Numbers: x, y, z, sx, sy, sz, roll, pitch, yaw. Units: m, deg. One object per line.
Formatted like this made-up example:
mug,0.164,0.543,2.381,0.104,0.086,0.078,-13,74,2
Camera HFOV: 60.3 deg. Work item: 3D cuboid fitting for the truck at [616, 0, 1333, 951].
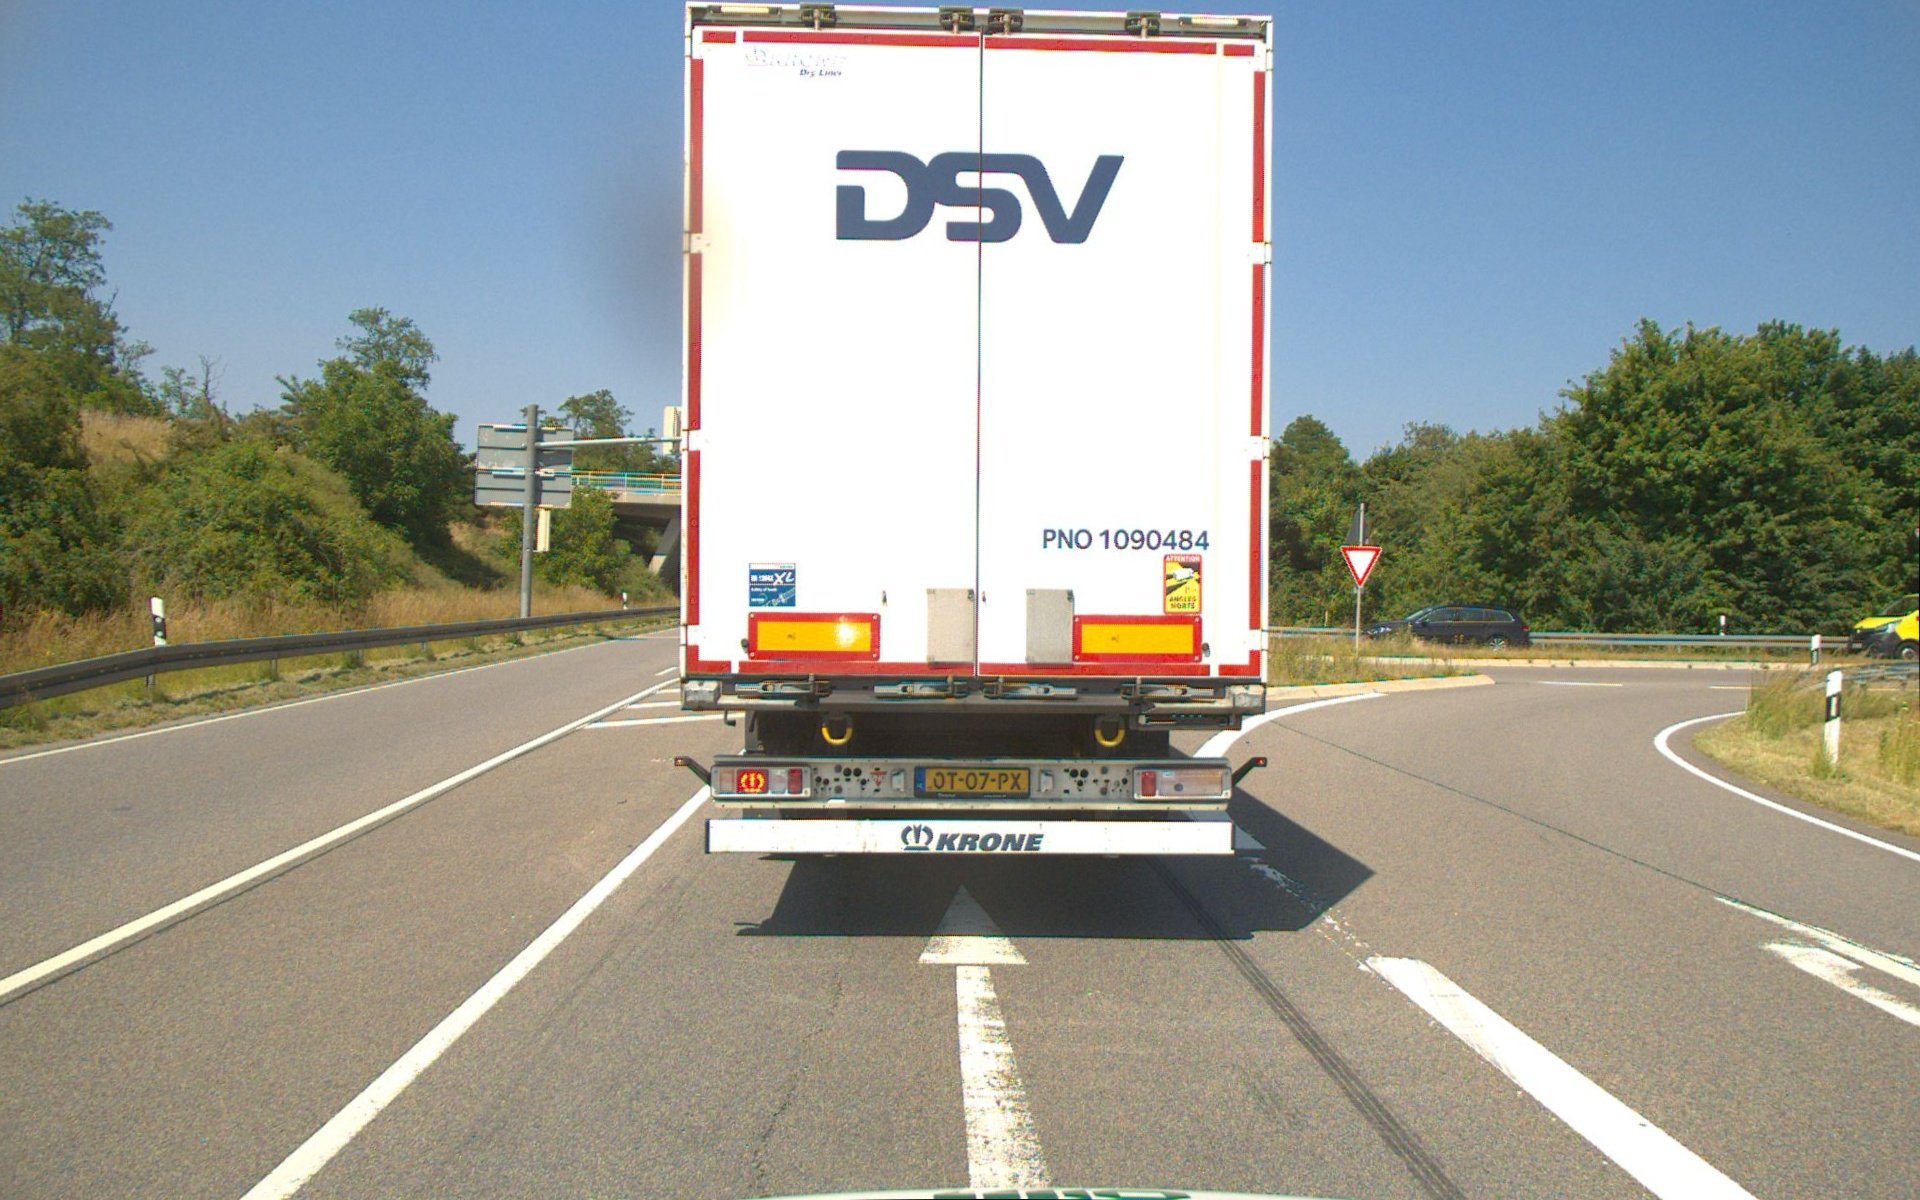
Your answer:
truck,-0.045,-0.558,11.787,2.927,4.011,9.872,1,0,-1

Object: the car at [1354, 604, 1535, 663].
car,13.430,0.924,46.030,4.583,1.540,1.854,1,-1,7

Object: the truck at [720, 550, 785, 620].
truck,-11.155,-0.760,89.452,2.591,3.600,7.888,1,0,-1

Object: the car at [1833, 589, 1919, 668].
car,26.457,0.773,44.180,5.214,2.049,2.000,1,-1,-1

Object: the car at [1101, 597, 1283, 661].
car,6.055,0.752,43.295,4.412,1.626,1.760,1,0,-16
